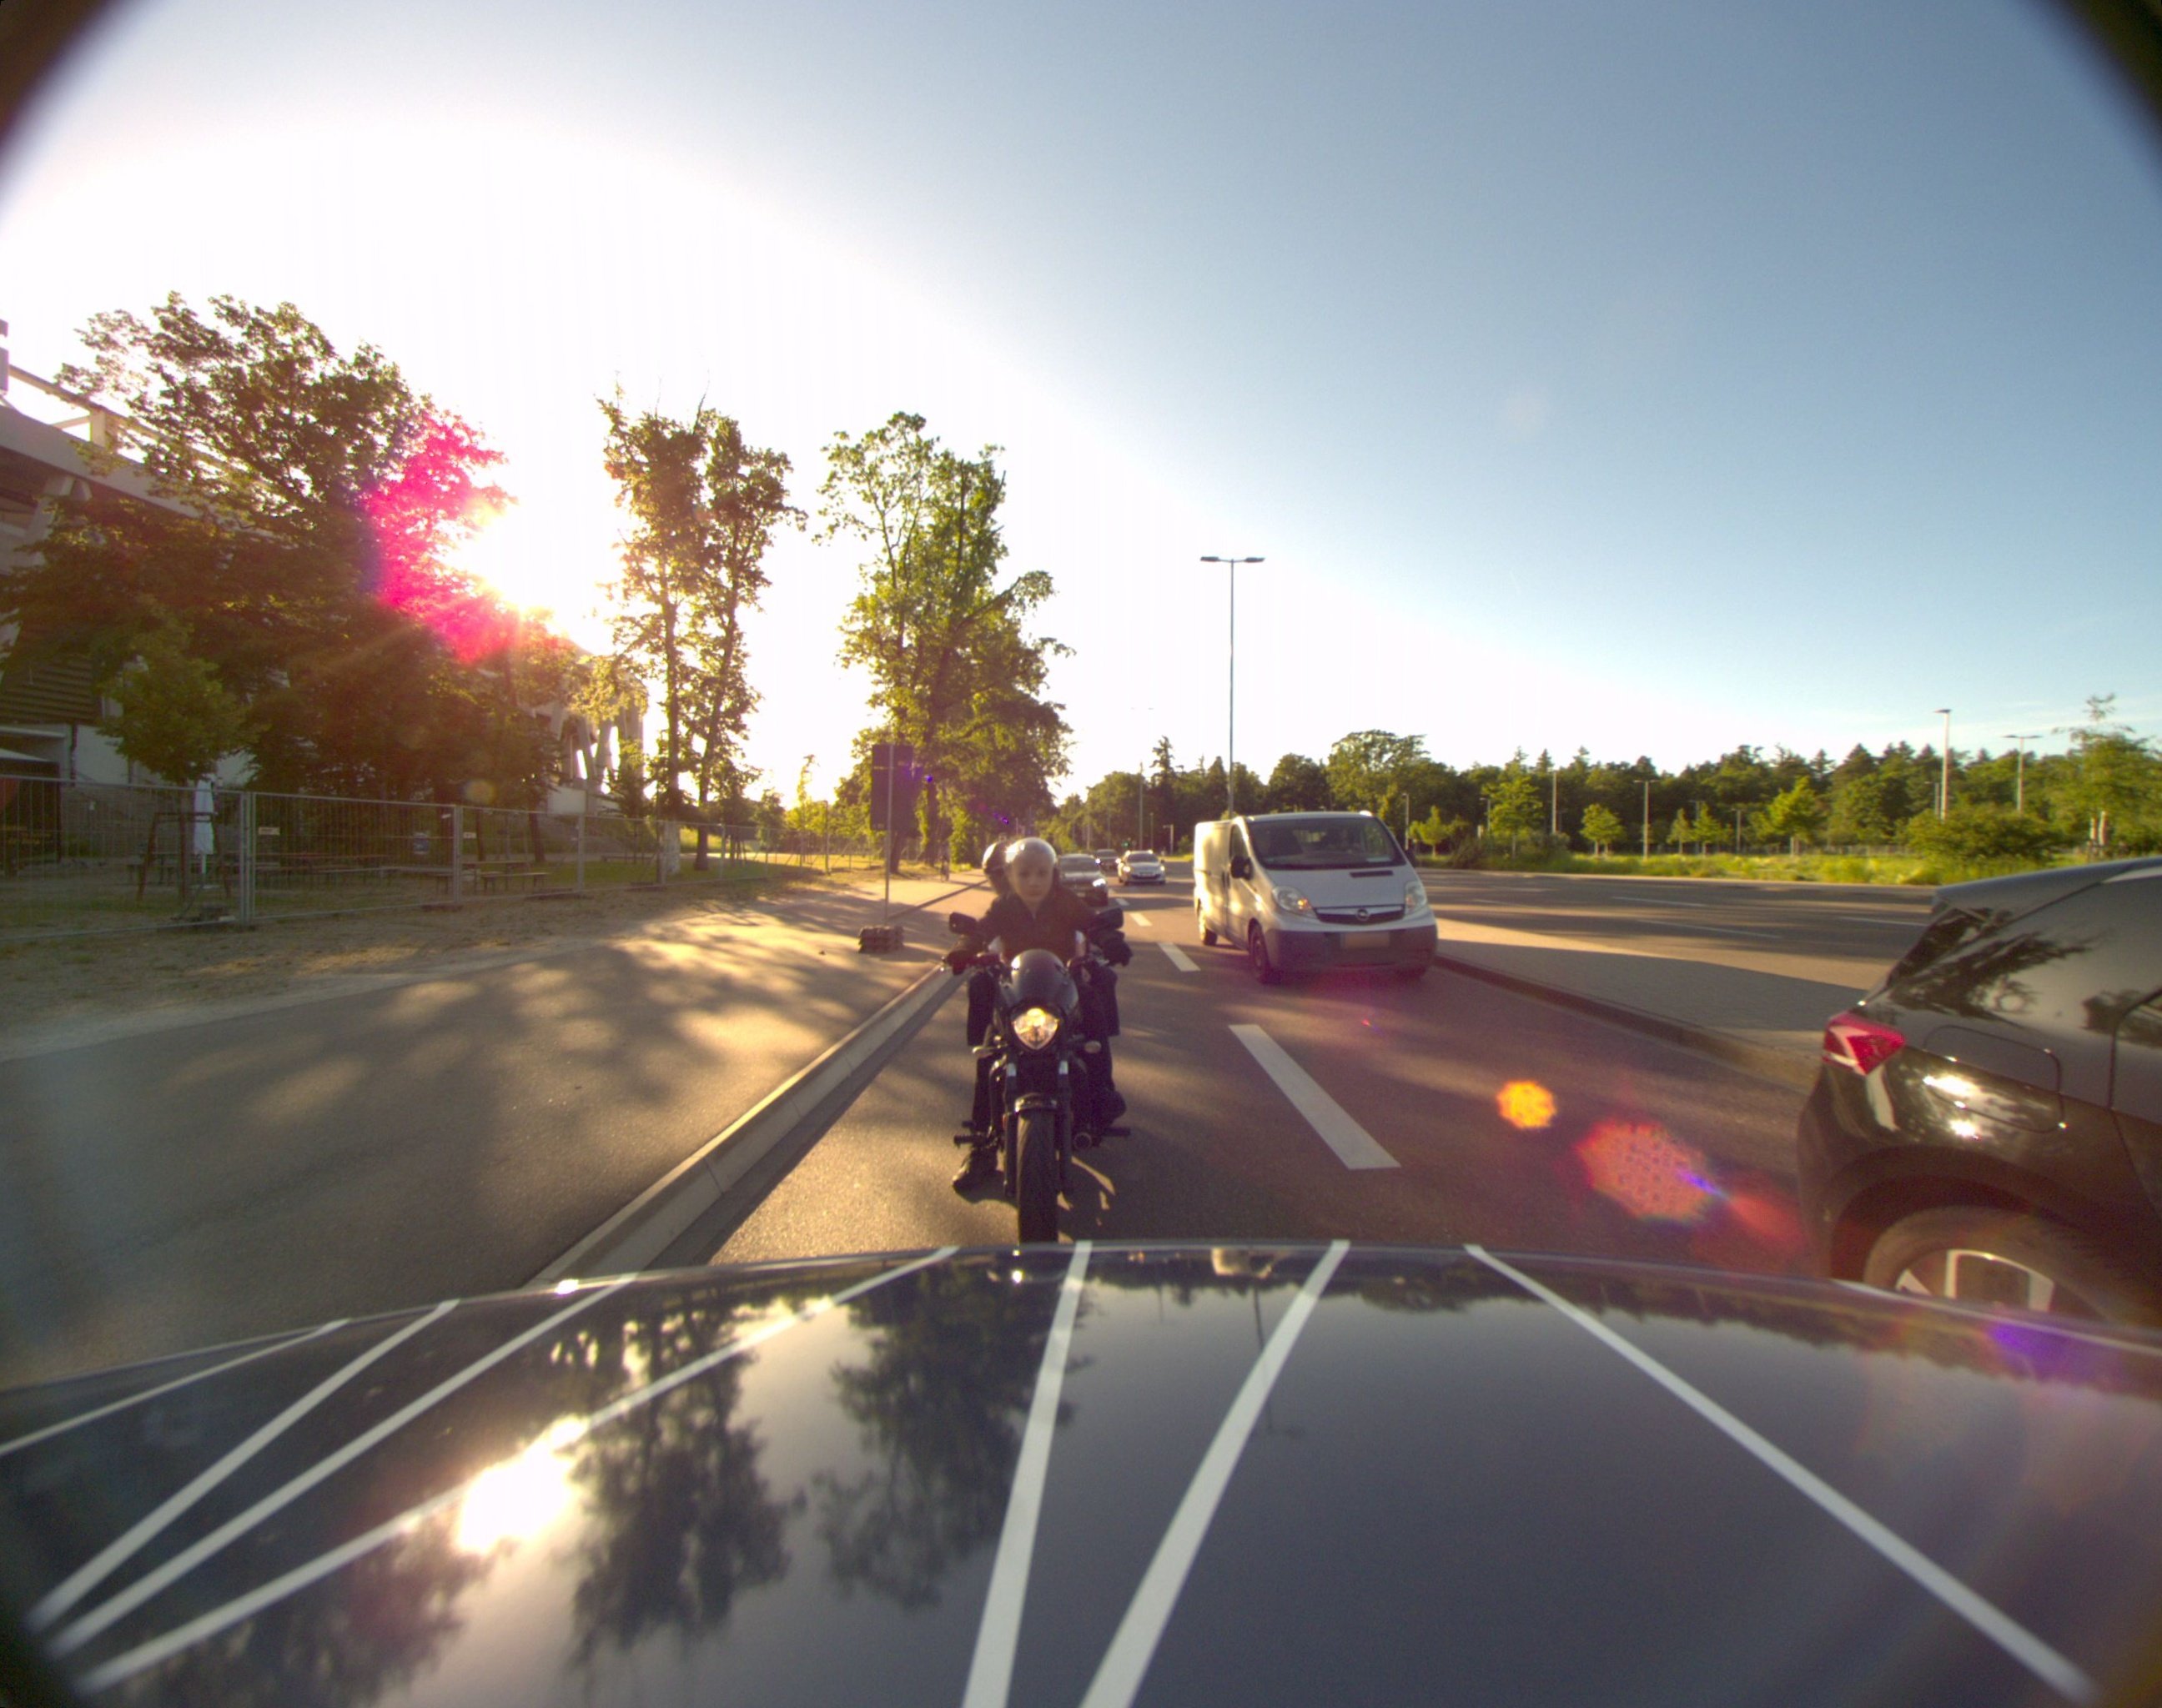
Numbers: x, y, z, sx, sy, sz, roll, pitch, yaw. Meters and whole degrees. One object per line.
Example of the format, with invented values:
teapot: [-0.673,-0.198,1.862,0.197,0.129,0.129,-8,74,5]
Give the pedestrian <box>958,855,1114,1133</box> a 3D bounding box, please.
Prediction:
pedestrian: [-0.225,0.719,4.126,0.739,1.387,0.500,-2,2,1]

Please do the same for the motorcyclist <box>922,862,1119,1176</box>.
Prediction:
motorcyclist: [-0.262,0.741,3.617,0.822,1.367,0.476,-2,2,1]

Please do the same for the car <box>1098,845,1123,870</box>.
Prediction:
car: [2.107,0.192,55.436,1.638,1.674,3.999,-2,1,1]

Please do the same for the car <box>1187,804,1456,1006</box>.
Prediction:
car: [2.756,0.505,10.095,1.883,1.951,5.048,-2,0,0]

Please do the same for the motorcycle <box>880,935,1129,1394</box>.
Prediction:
motorcycle: [-0.214,1.096,3.673,0.717,1.058,2.721,-2,1,1]

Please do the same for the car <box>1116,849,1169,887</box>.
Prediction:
car: [2.697,0.588,34.358,1.883,1.515,5.048,-2,0,0]

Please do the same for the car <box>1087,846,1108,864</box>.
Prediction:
car: [1.616,0.084,75.266,1.883,1.629,5.048,-2,0,0]

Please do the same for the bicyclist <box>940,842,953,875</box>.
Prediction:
bicyclist: [-5.852,0.201,33.048,0.451,1.412,0.575,0,1,1]

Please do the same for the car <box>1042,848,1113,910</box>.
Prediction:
car: [-0.105,0.680,23.195,1.883,1.629,5.048,-2,0,0]

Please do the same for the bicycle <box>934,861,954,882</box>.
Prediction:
bicycle: [-5.878,0.742,32.683,0.481,0.854,1.909,0,1,1]

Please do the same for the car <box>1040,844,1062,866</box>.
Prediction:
car: [-2.775,0.060,70.833,1.774,1.849,3.999,-2,1,1]
